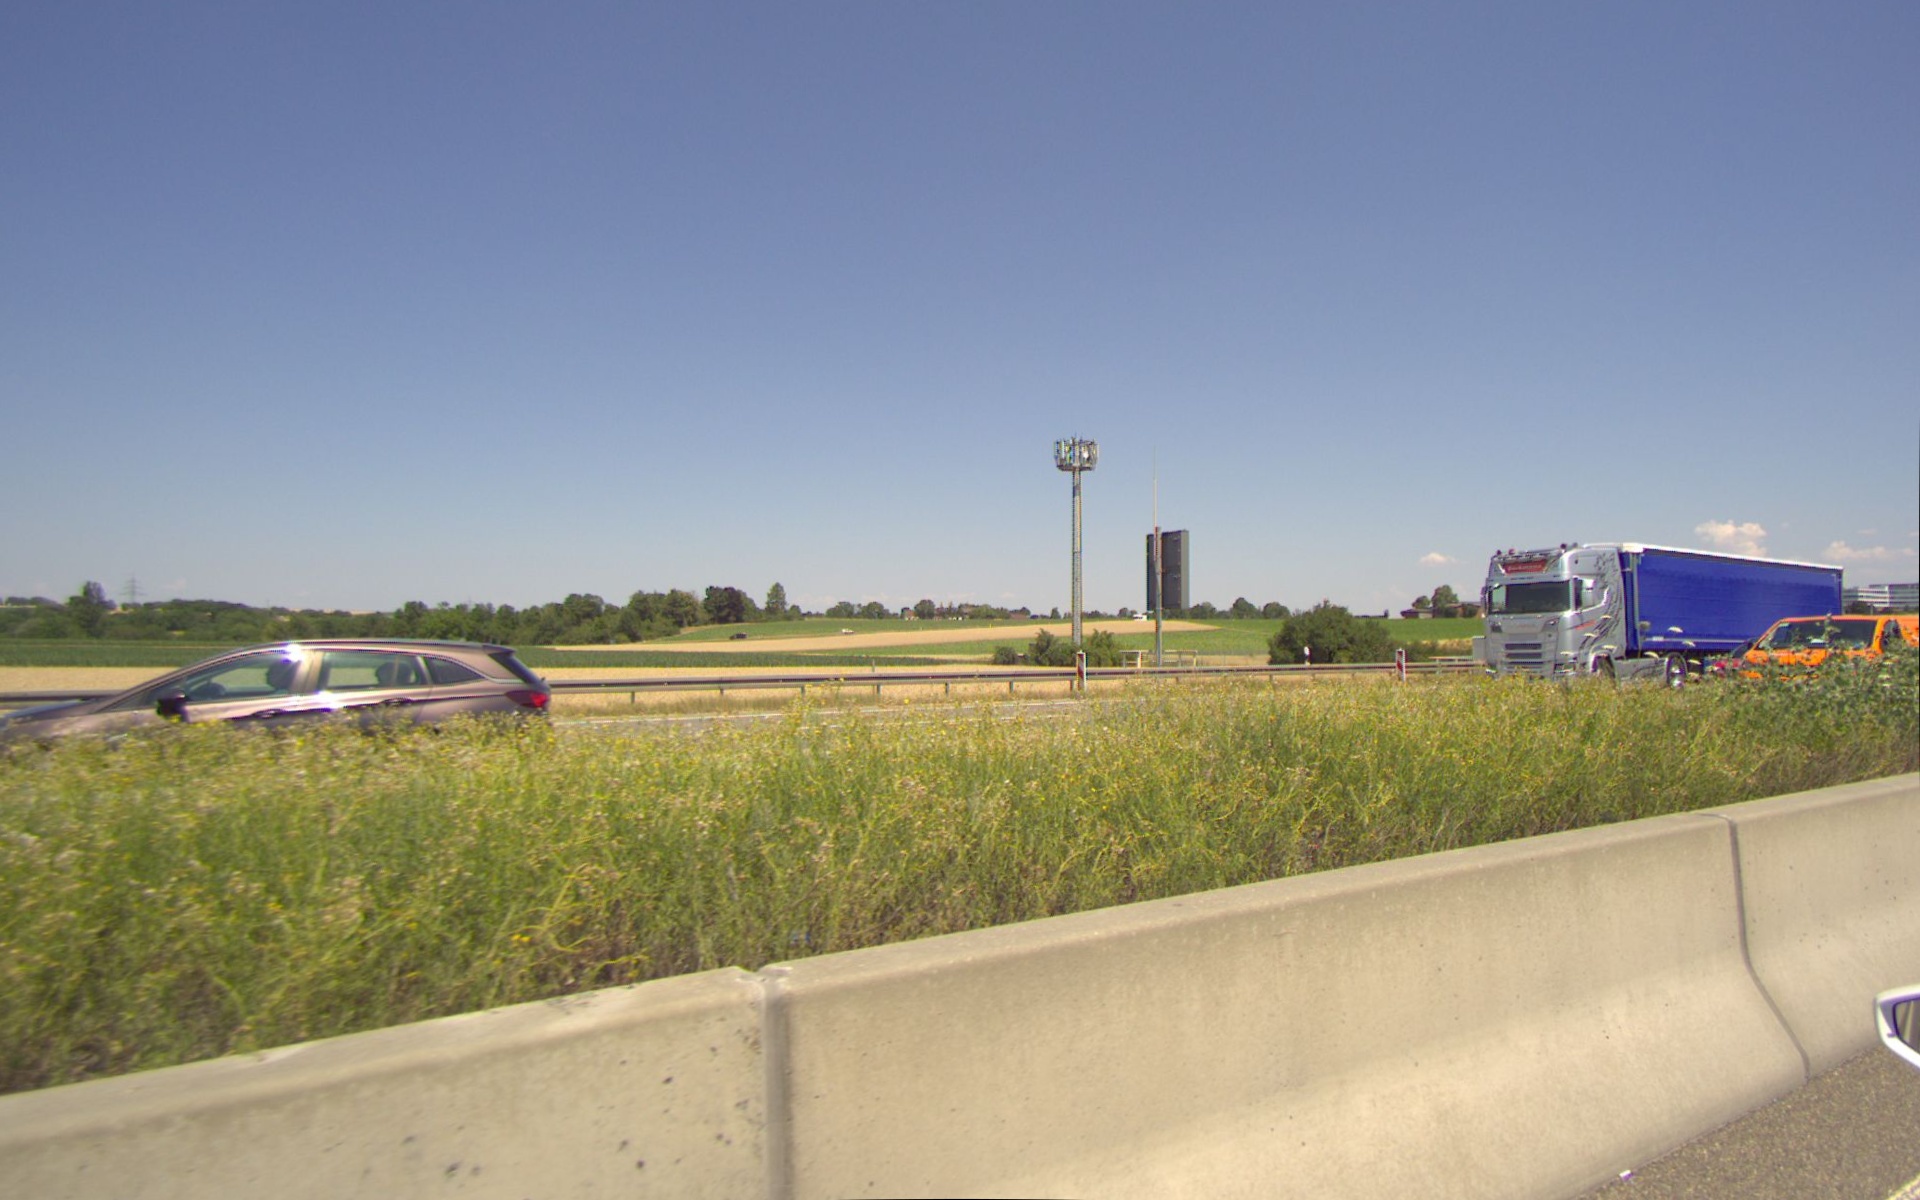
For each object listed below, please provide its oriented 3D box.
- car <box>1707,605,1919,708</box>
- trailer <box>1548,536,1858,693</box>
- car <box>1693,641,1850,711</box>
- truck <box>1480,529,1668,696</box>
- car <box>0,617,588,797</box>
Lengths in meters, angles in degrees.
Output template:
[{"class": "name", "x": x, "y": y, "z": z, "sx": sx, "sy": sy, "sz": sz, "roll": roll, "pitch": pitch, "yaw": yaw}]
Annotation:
[{"class": "car", "x": 15.527, "y": 0.963, "z": 17.849, "sx": 4.880, "sy": 1.599, "sz": 1.885, "roll": 2, "pitch": 0, "yaw": -31}, {"class": "trailer", "x": 23.316, "y": 0.514, "z": 31.021, "sx": 13.930, "sy": 4.140, "sz": 2.375, "roll": 1, "pitch": -2, "yaw": -30}, {"class": "car", "x": 19.712, "y": 1.777, "z": 24.364, "sx": 4.179, "sy": 1.528, "sz": 1.580, "roll": 1, "pitch": -2, "yaw": -30}, {"class": "truck", "x": 16.526, "y": 0.372, "z": 27.023, "sx": 4.604, "sy": 4.140, "sz": 2.400, "roll": 1, "pitch": -2, "yaw": -30}, {"class": "car", "x": -5.880, "y": 0.879, "z": 9.198, "sx": 4.383, "sy": 1.283, "sz": 1.738, "roll": 2, "pitch": -1, "yaw": -31}]
